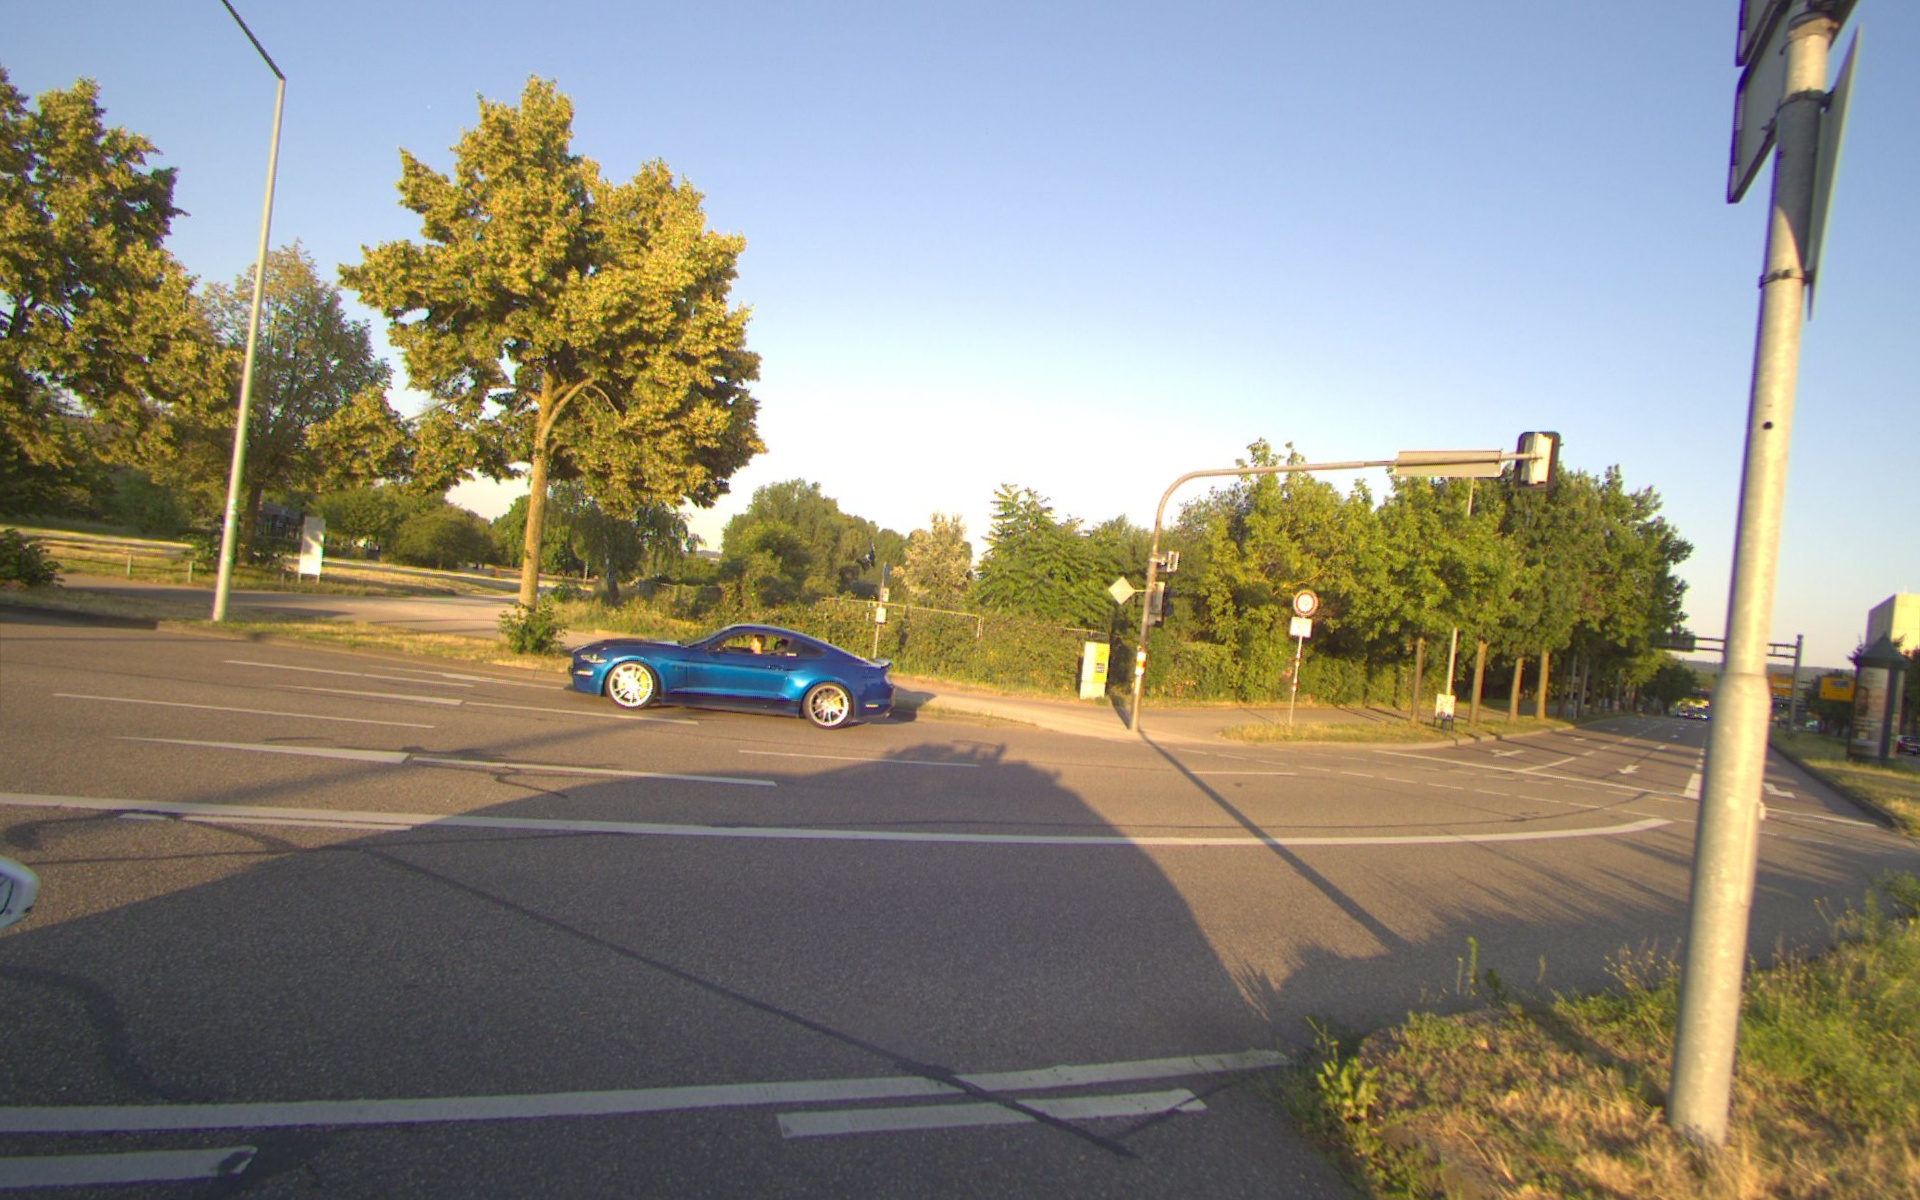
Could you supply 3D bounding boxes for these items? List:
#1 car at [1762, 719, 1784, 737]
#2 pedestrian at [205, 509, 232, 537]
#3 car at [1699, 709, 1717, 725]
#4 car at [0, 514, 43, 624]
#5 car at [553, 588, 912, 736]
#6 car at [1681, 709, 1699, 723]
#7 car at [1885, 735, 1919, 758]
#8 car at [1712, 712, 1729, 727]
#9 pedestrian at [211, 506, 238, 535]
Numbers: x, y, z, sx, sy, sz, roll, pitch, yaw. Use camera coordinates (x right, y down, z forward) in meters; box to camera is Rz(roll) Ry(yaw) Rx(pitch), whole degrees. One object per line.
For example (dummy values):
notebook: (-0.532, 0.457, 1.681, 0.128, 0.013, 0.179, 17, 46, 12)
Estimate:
car: (107.719, 16.949, 133.275, 1.971, 2.038, 3.984, 7, -1, 40)
pedestrian: (-48.284, -4.990, 65.505, 0.896, 1.637, 1.069, 7, 0, 36)
car: (111.842, 17.445, 150.343, 1.970, 2.036, 3.989, 6, -2, 37)
car: (-15.446, -0.721, 13.183, 4.545, 1.522, 1.997, 8, -2, -12)
car: (-3.285, 0.889, 14.835, 4.699, 1.523, 1.994, 7, -1, -16)
car: (118.079, 18.793, 162.782, 1.968, 1.801, 3.992, 6, -3, 34)
car: (71.490, 11.102, 76.053, 1.724, 1.395, 4.114, 6, -2, 37)
car: (121.755, 19.209, 161.111, 1.970, 2.036, 3.990, 6, -2, 37)
pedestrian: (-47.092, -5.093, 64.393, 0.896, 1.637, 1.069, 7, 0, 36)
